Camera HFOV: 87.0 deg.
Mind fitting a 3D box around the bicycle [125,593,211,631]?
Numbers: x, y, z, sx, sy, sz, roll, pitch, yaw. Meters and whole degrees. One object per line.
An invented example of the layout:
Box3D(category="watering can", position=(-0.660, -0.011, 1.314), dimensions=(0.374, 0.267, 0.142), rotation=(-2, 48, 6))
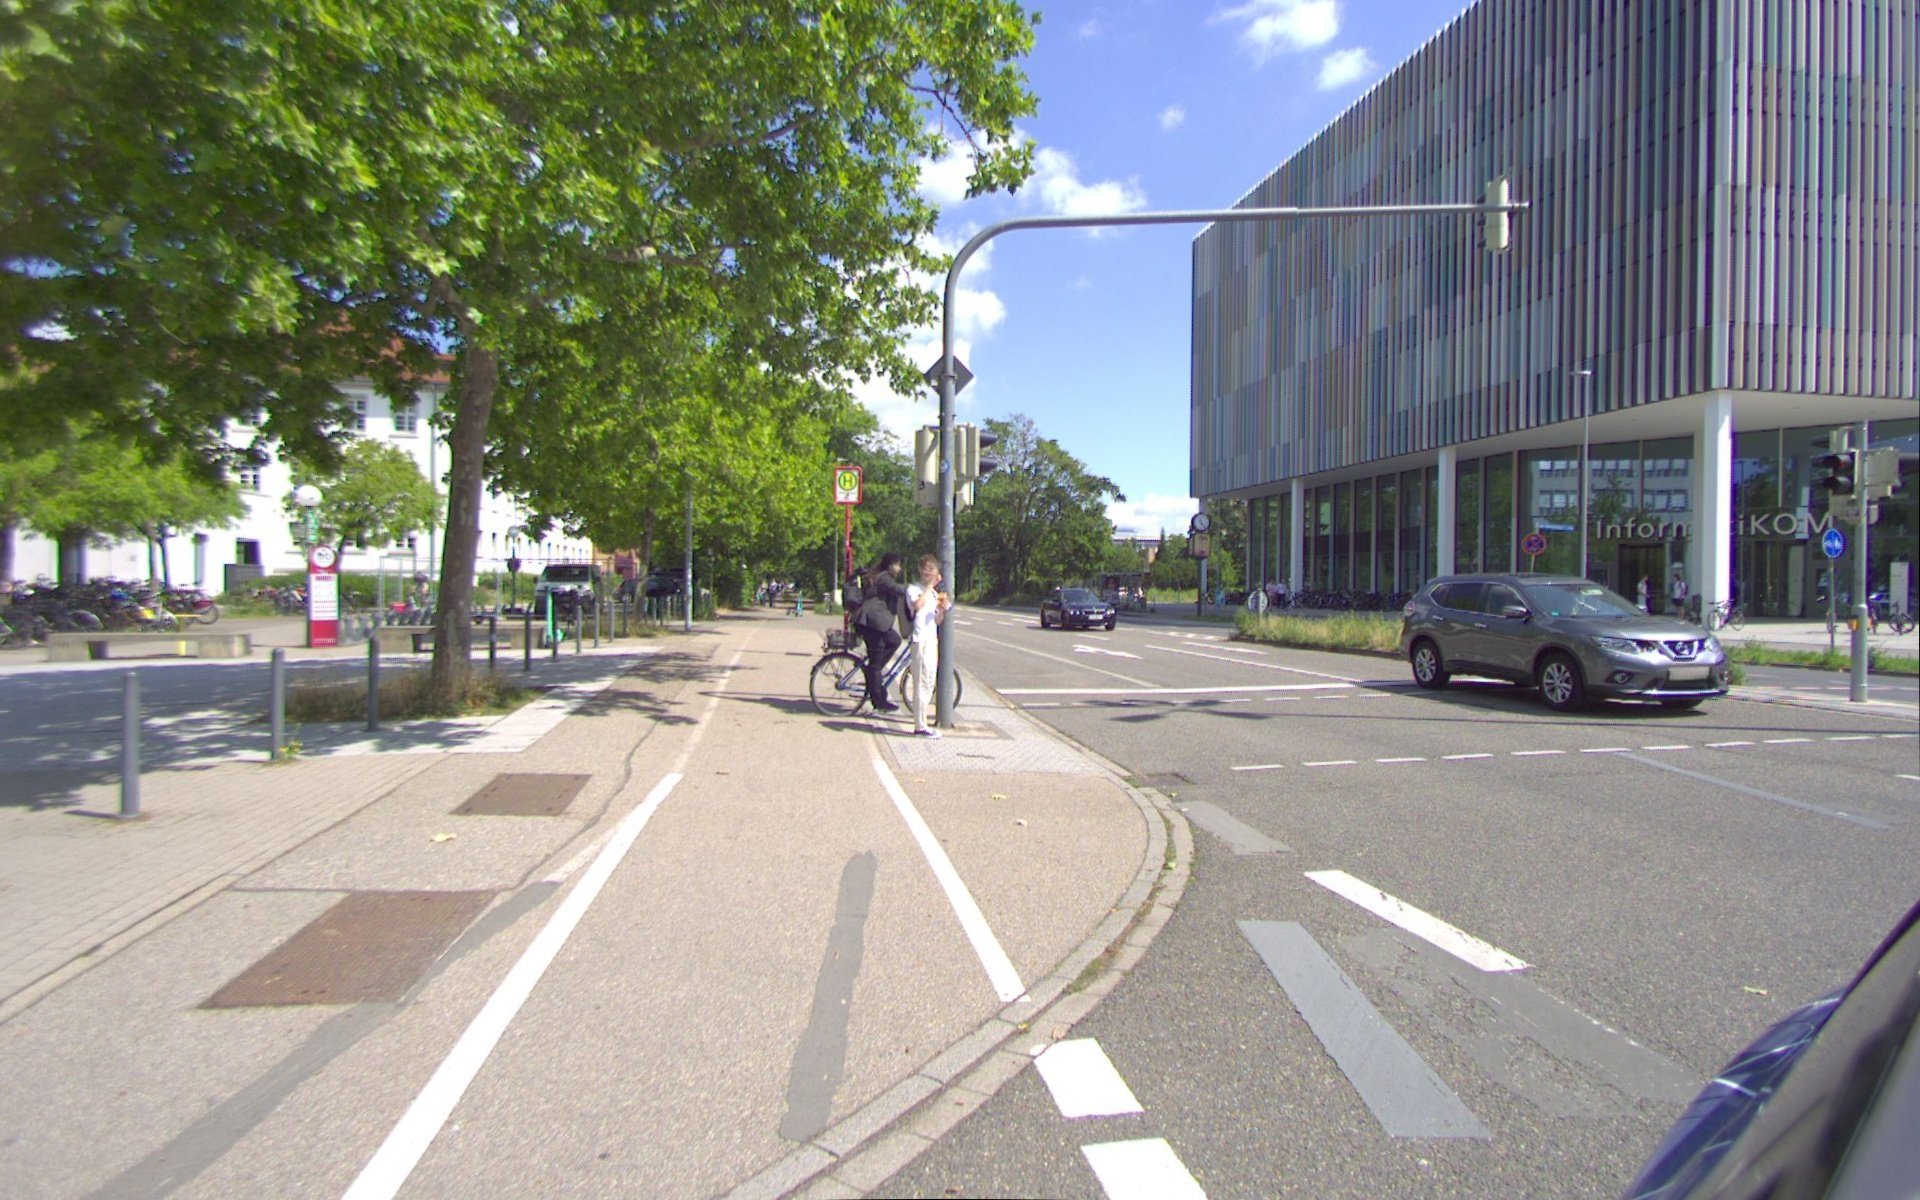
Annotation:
Box3D(category="bicycle", position=(-20.583, 0.300, 26.325), dimensions=(1.737, 0.966, 0.603), rotation=(0, 0, -41))

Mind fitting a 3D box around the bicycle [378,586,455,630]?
Box3D(category="bicycle", position=(-14.762, 0.193, 27.515), dimensions=(1.737, 1.112, 0.603), rotation=(-2, 1, -41))

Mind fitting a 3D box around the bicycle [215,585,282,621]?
Box3D(category="bicycle", position=(-23.462, 0.101, 33.369), dimensions=(1.737, 1.112, 0.603), rotation=(-2, 1, -41))

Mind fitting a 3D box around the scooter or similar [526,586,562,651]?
Box3D(category="scooter or similar", position=(-7.921, 0.331, 19.304), dimensions=(0.346, 1.180, 1.195), rotation=(-1, 1, -10))

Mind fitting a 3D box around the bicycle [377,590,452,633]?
Box3D(category="bicycle", position=(-15.134, 0.306, 28.114), dimensions=(1.737, 1.112, 0.603), rotation=(-2, 1, -41))

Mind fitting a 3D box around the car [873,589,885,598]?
Box3D(category="car", position=(-13.623, -1.114, 169.602), dimensions=(1.862, 1.530, 3.832), rotation=(-1, 1, -5))

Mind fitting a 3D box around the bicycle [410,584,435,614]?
Box3D(category="bicycle", position=(-21.185, -0.043, 39.933), dimensions=(0.595, 1.152, 1.591), rotation=(1, 1, -19))

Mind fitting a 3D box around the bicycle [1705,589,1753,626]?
Box3D(category="bicycle", position=(25.945, 0.233, 34.133), dimensions=(1.514, 1.202, 0.374), rotation=(-1, 2, -11))

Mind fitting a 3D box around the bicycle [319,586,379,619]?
Box3D(category="bicycle", position=(-21.908, 0.073, 36.307), dimensions=(1.737, 1.112, 0.603), rotation=(-2, 1, -41))

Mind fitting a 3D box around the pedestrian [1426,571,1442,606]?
Box3D(category="pedestrian", position=(25.216, -0.603, 53.822), dimensions=(0.550, 1.865, 0.556), rotation=(-1, 1, -17))

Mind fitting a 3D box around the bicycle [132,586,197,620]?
Box3D(category="bicycle", position=(-27.753, 0.095, 35.327), dimensions=(1.737, 1.112, 0.603), rotation=(-2, 1, -41))

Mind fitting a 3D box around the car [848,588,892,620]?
Box3D(category="car", position=(-4.677, 0.200, 51.952), dimensions=(1.824, 1.497, 4.949), rotation=(2, 0, -10))

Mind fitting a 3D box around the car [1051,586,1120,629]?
Box3D(category="car", position=(4.363, 0.213, 35.785), dimensions=(1.795, 1.433, 4.193), rotation=(0, 1, -2))

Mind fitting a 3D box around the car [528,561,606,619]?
Box3D(category="car", position=(-13.780, -0.393, 35.738), dimensions=(1.864, 1.888, 4.952), rotation=(-1, 1, -13))

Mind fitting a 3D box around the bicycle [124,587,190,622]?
Box3D(category="bicycle", position=(-27.490, 0.136, 34.654), dimensions=(1.737, 1.112, 0.603), rotation=(-2, 1, -41))

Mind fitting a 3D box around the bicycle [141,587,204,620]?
Box3D(category="bicycle", position=(-28.074, 0.115, 36.085), dimensions=(1.737, 1.112, 0.603), rotation=(-2, 1, -41))

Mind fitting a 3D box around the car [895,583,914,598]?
Box3D(category="car", position=(-7.379, -1.273, 133.752), dimensions=(1.864, 1.834, 4.741), rotation=(1, 1, -12))

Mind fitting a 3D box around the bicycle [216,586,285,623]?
Box3D(category="bicycle", position=(-22.506, 0.123, 32.114), dimensions=(1.737, 1.112, 0.603), rotation=(-2, 1, -41))

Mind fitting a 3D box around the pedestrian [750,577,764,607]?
Box3D(category="pedestrian", position=(-12.165, -0.498, 60.681), dimensions=(0.671, 1.803, 0.791), rotation=(-1, 1, -1))

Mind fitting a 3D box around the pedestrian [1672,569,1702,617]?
Box3D(category="pedestrian", position=(28.458, -0.283, 39.605), dimensions=(0.677, 1.865, 0.678), rotation=(-1, 1, -2))

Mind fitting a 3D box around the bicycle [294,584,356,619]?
Box3D(category="bicycle", position=(-21.872, 0.039, 34.877), dimensions=(1.737, 1.112, 0.603), rotation=(-2, 1, -41))

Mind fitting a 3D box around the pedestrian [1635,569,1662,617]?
Box3D(category="pedestrian", position=(27.298, -0.288, 40.115), dimensions=(0.780, 1.865, 0.513), rotation=(0, 1, 25))

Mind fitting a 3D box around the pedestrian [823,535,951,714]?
Box3D(category="pedestrian", position=(-0.832, 0.248, 11.216), dimensions=(1.151, 1.841, 0.859), rotation=(4, 2, -14))

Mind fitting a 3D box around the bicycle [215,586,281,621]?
Box3D(category="bicycle", position=(-23.870, 0.111, 33.950), dimensions=(1.737, 1.112, 0.603), rotation=(-2, 1, -41))

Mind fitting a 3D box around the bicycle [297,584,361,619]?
Box3D(category="bicycle", position=(-21.230, 0.043, 34.047), dimensions=(1.737, 1.112, 0.603), rotation=(-2, 1, -41))

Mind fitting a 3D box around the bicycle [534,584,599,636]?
Box3D(category="bicycle", position=(-9.658, 0.228, 24.916), dimensions=(0.785, 1.198, 2.031), rotation=(-1, 1, 1))

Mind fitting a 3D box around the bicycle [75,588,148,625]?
Box3D(category="bicycle", position=(-27.036, 0.183, 32.265), dimensions=(1.737, 1.112, 0.603), rotation=(-2, 1, -41))

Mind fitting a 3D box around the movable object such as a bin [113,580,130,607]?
Box3D(category="movable object such as a bin", position=(-33.539, -0.243, 40.488), dimensions=(0.381, 1.068, 0.369), rotation=(1, 0, -15))

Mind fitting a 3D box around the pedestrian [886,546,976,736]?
Box3D(category="pedestrian", position=(-0.294, 0.393, 10.087), dimensions=(0.599, 1.823, 0.596), rotation=(2, 0, -36))

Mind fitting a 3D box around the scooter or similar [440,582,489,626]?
Box3D(category="scooter or similar", position=(-14.418, 0.105, 29.477), dimensions=(1.272, 1.248, 0.281), rotation=(-1, 2, -24))

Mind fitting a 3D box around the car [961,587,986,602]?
Box3D(category="car", position=(1.347, -0.583, 100.175), dimensions=(1.959, 1.438, 4.005), rotation=(0, 1, -7))

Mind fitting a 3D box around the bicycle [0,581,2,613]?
Box3D(category="bicycle", position=(-33.385, -0.070, 33.974), dimensions=(1.737, 1.112, 0.603), rotation=(-2, 1, -41))

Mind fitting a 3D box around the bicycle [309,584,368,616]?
Box3D(category="bicycle", position=(-22.841, -0.017, 37.215), dimensions=(1.737, 1.112, 0.603), rotation=(-2, 1, -41))

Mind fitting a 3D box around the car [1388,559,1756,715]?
Box3D(category="car", position=(7.804, 0.394, 13.541), dimensions=(1.788, 1.700, 4.484), rotation=(-1, 0, -7))

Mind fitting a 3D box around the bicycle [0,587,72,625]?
Box3D(category="bicycle", position=(-28.447, 0.179, 31.083), dimensions=(1.737, 1.112, 0.603), rotation=(-2, 1, -41))

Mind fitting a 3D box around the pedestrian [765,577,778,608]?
Box3D(category="pedestrian", position=(-11.303, -0.460, 60.637), dimensions=(0.670, 1.803, 0.792), rotation=(-1, 1, -6))

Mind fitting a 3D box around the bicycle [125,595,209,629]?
Box3D(category="bicycle", position=(-21.101, 0.303, 26.943), dimensions=(1.737, 0.880, 0.483), rotation=(0, 0, -41))

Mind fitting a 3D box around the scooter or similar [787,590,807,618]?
Box3D(category="scooter or similar", position=(-7.210, 0.188, 44.855), dimensions=(0.520, 1.184, 1.573), rotation=(2, 0, 3))

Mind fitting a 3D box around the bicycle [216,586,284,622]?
Box3D(category="bicycle", position=(-23.012, 0.118, 32.805), dimensions=(1.737, 1.112, 0.603), rotation=(-2, 1, -41))

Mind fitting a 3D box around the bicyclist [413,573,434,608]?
Box3D(category="bicyclist", position=(-21.175, -0.377, 39.924), dimensions=(0.595, 1.337, 0.744), rotation=(1, 0, -19))
